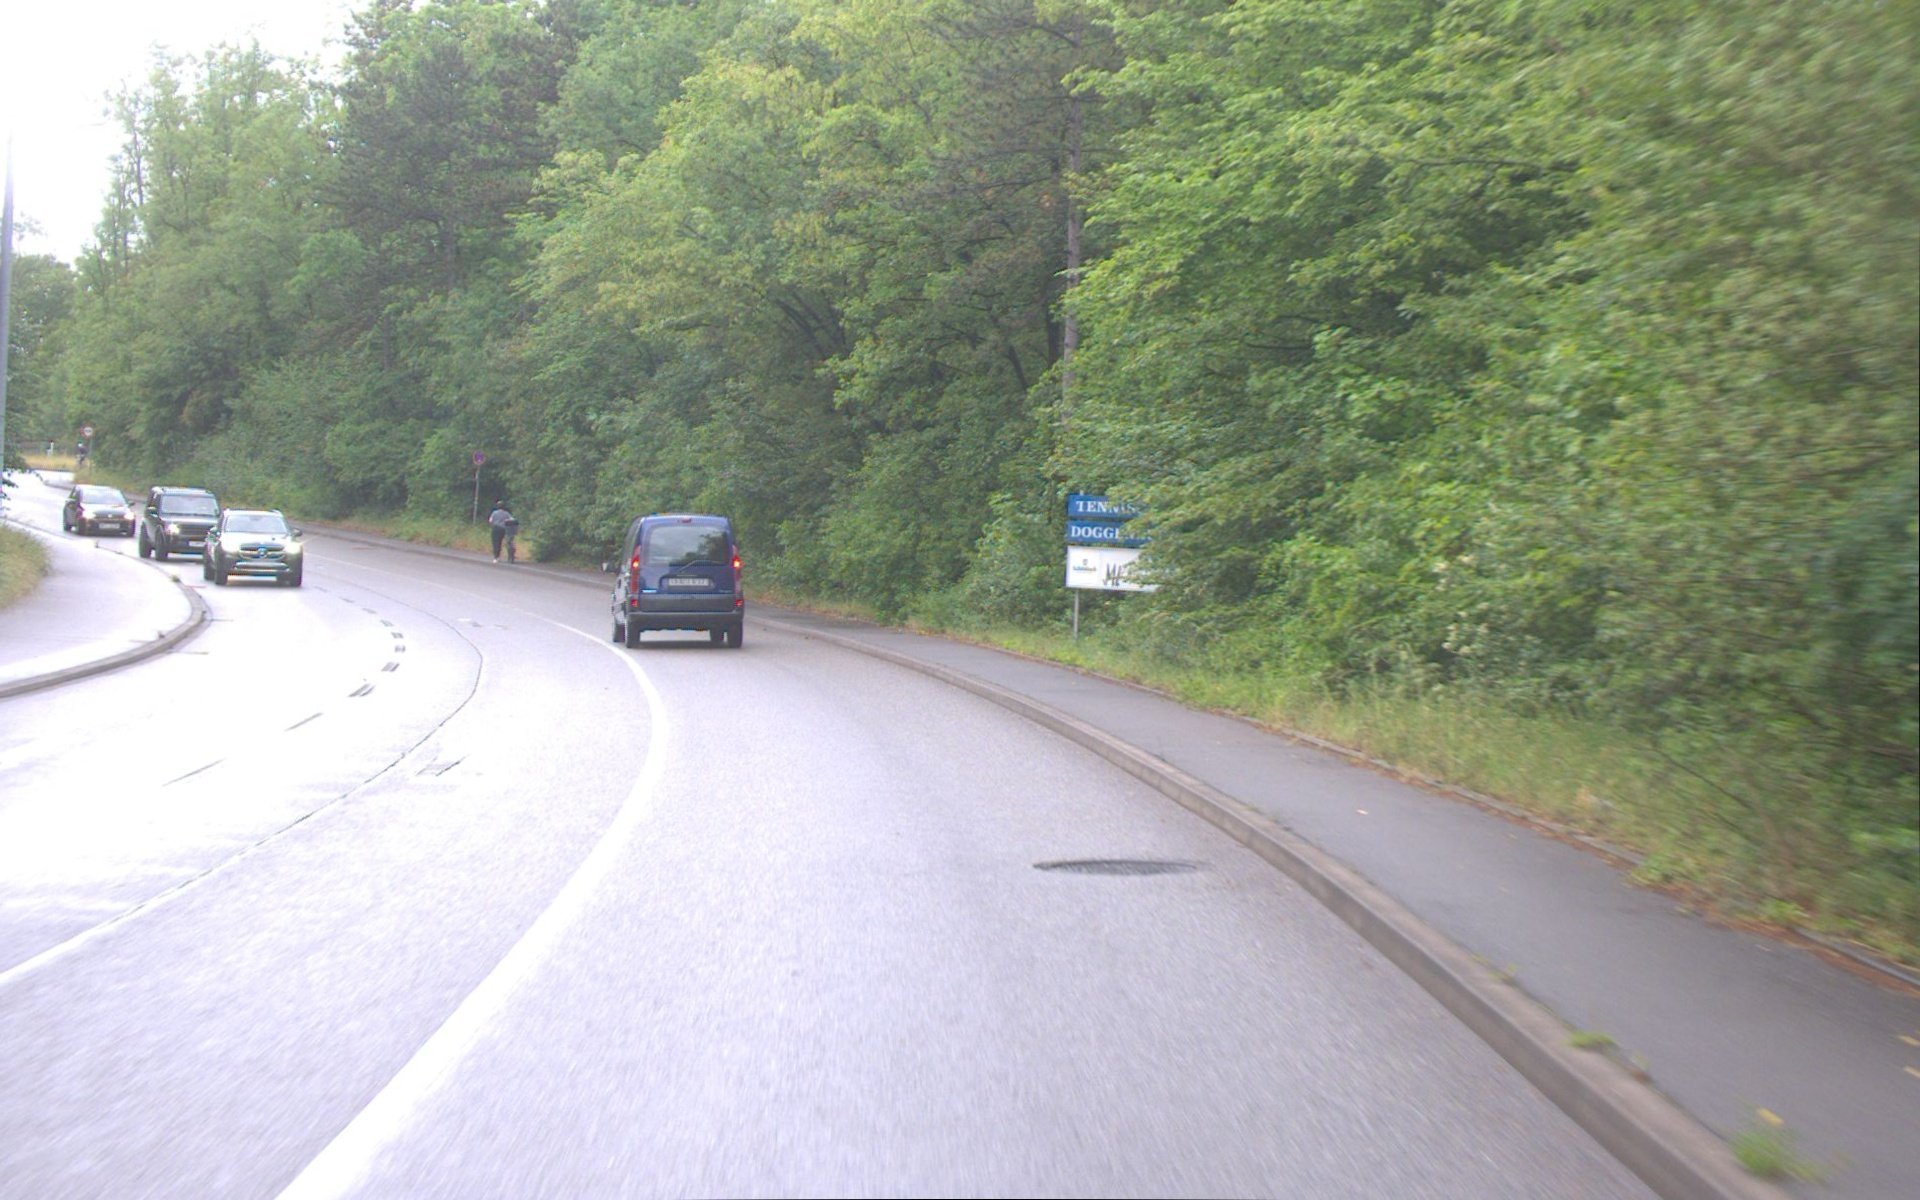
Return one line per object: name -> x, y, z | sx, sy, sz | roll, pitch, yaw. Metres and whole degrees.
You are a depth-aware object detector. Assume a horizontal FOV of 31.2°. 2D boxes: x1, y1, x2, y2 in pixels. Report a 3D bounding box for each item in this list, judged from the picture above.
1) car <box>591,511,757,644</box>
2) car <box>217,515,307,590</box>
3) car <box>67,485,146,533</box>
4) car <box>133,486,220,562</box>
car -> -4.075, -0.354, 48.485 | 1.826, 1.787, 4.001 | 0, 1, -12
car -> -15.842, -1.096, 77.884 | 1.808, 1.589, 4.519 | 1, 1, -14
car -> -26.658, -2.845, 107.296 | 1.826, 1.435, 4.001 | 1, 1, -22
car -> -20.779, -1.996, 91.104 | 1.826, 1.837, 4.712 | 0, -1, -18
